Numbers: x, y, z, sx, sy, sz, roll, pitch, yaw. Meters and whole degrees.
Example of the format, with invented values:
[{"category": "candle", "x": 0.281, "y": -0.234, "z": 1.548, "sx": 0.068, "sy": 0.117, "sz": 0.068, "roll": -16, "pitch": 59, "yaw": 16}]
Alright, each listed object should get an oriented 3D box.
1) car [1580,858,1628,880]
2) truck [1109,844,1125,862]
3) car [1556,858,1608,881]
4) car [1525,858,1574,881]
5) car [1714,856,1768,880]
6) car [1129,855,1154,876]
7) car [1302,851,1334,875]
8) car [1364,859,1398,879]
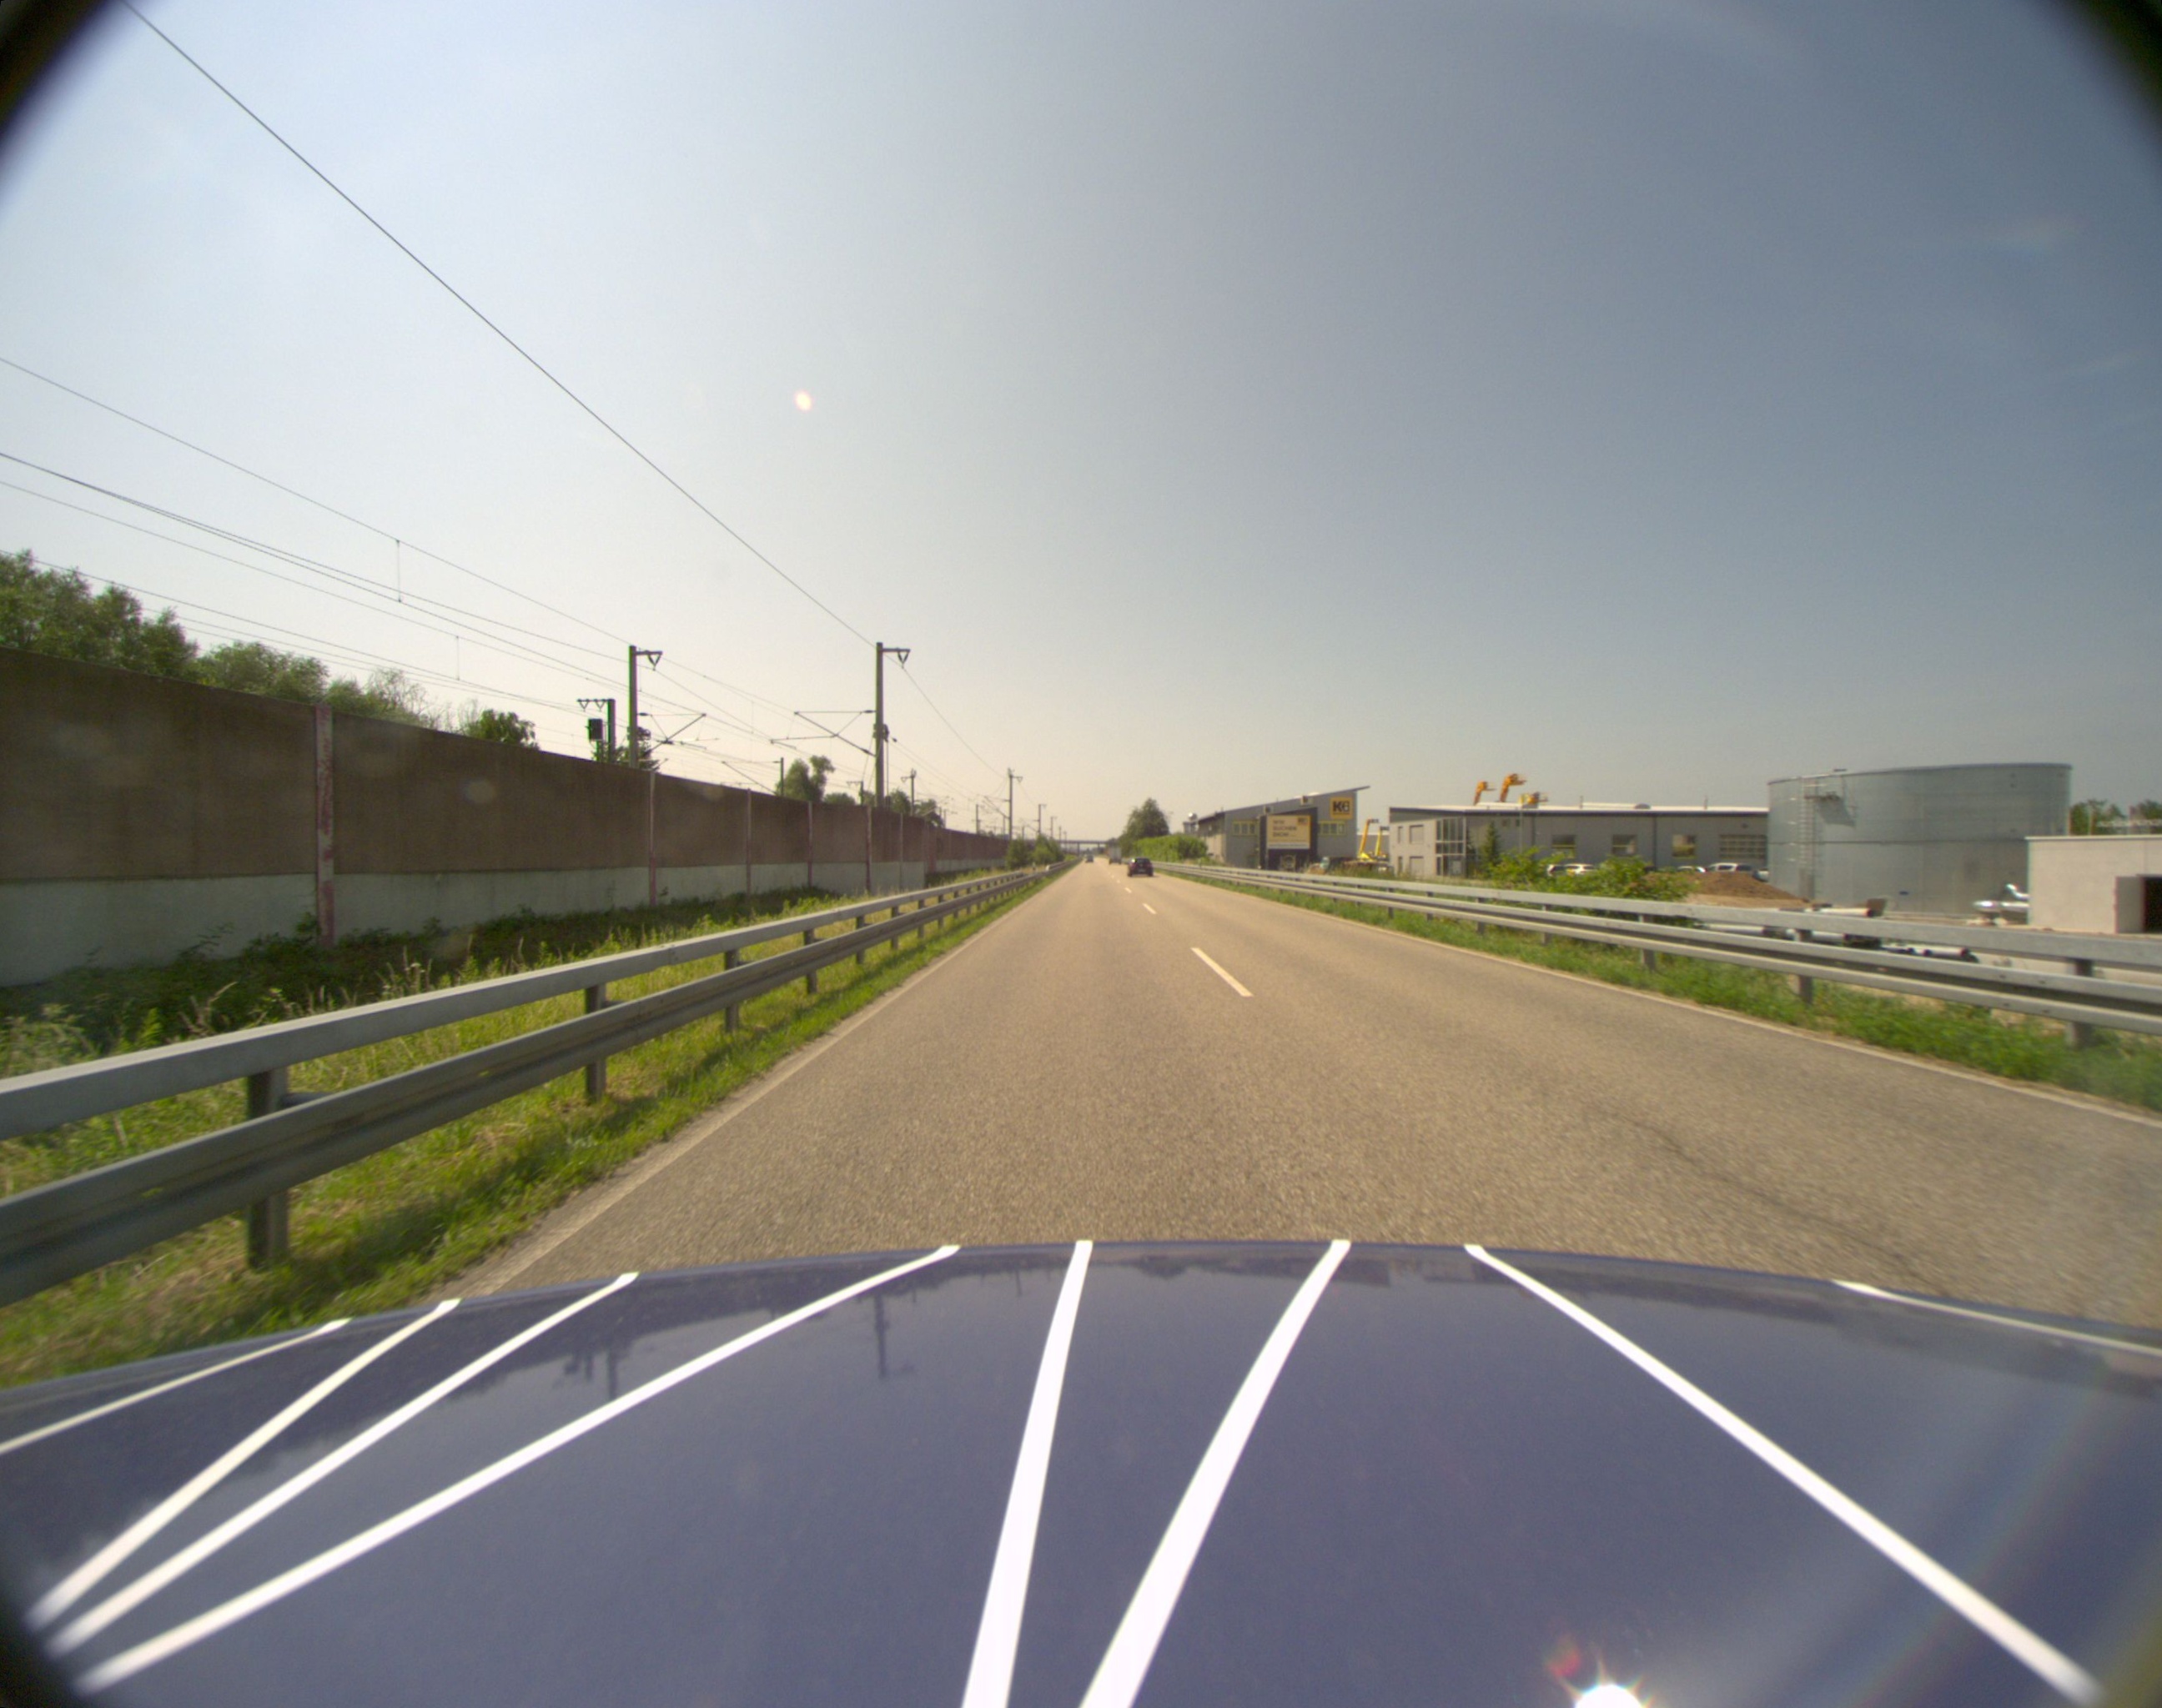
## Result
[{"category": "car", "x": 47.635, "y": 1.338, "z": 69.351, "sx": 1.834, "sy": 1.889, "sz": 3.689, "roll": 2, "pitch": 0, "yaw": 1}, {"category": "truck", "x": 6.083, "y": -0.205, "z": 129.016, "sx": 2.241, "sy": 2.950, "sz": 6.317, "roll": -2, "pitch": 1, "yaw": -1}, {"category": "car", "x": 45.328, "y": 1.364, "z": 68.822, "sx": 1.999, "sy": 2.002, "sz": 3.999, "roll": -1, "pitch": 1, "yaw": 0}, {"category": "car", "x": 42.345, "y": 1.354, "z": 68.771, "sx": 1.999, "sy": 2.002, "sz": 3.999, "roll": -1, "pitch": 1, "yaw": 0}, {"category": "car", "x": 60.120, "y": 1.237, "z": 69.288, "sx": 1.834, "sy": 2.002, "sz": 3.600, "roll": -3, "pitch": 0, "yaw": 1}, {"category": "car", "x": 4.451, "y": 0.803, "z": 56.044, "sx": 1.544, "sy": 1.426, "sz": 3.654, "roll": -1, "pitch": 0, "yaw": 0}, {"category": "car", "x": 20.672, "y": 0.750, "z": 66.441, "sx": 1.476, "sy": 2.002, "sz": 3.483, "roll": 2, "pitch": 0, "yaw": -4}, {"category": "car", "x": 26.980, "y": 1.309, "z": 68.409, "sx": 1.555, "sy": 1.664, "sz": 3.311, "roll": 0, "pitch": 1, "yaw": -4}]
